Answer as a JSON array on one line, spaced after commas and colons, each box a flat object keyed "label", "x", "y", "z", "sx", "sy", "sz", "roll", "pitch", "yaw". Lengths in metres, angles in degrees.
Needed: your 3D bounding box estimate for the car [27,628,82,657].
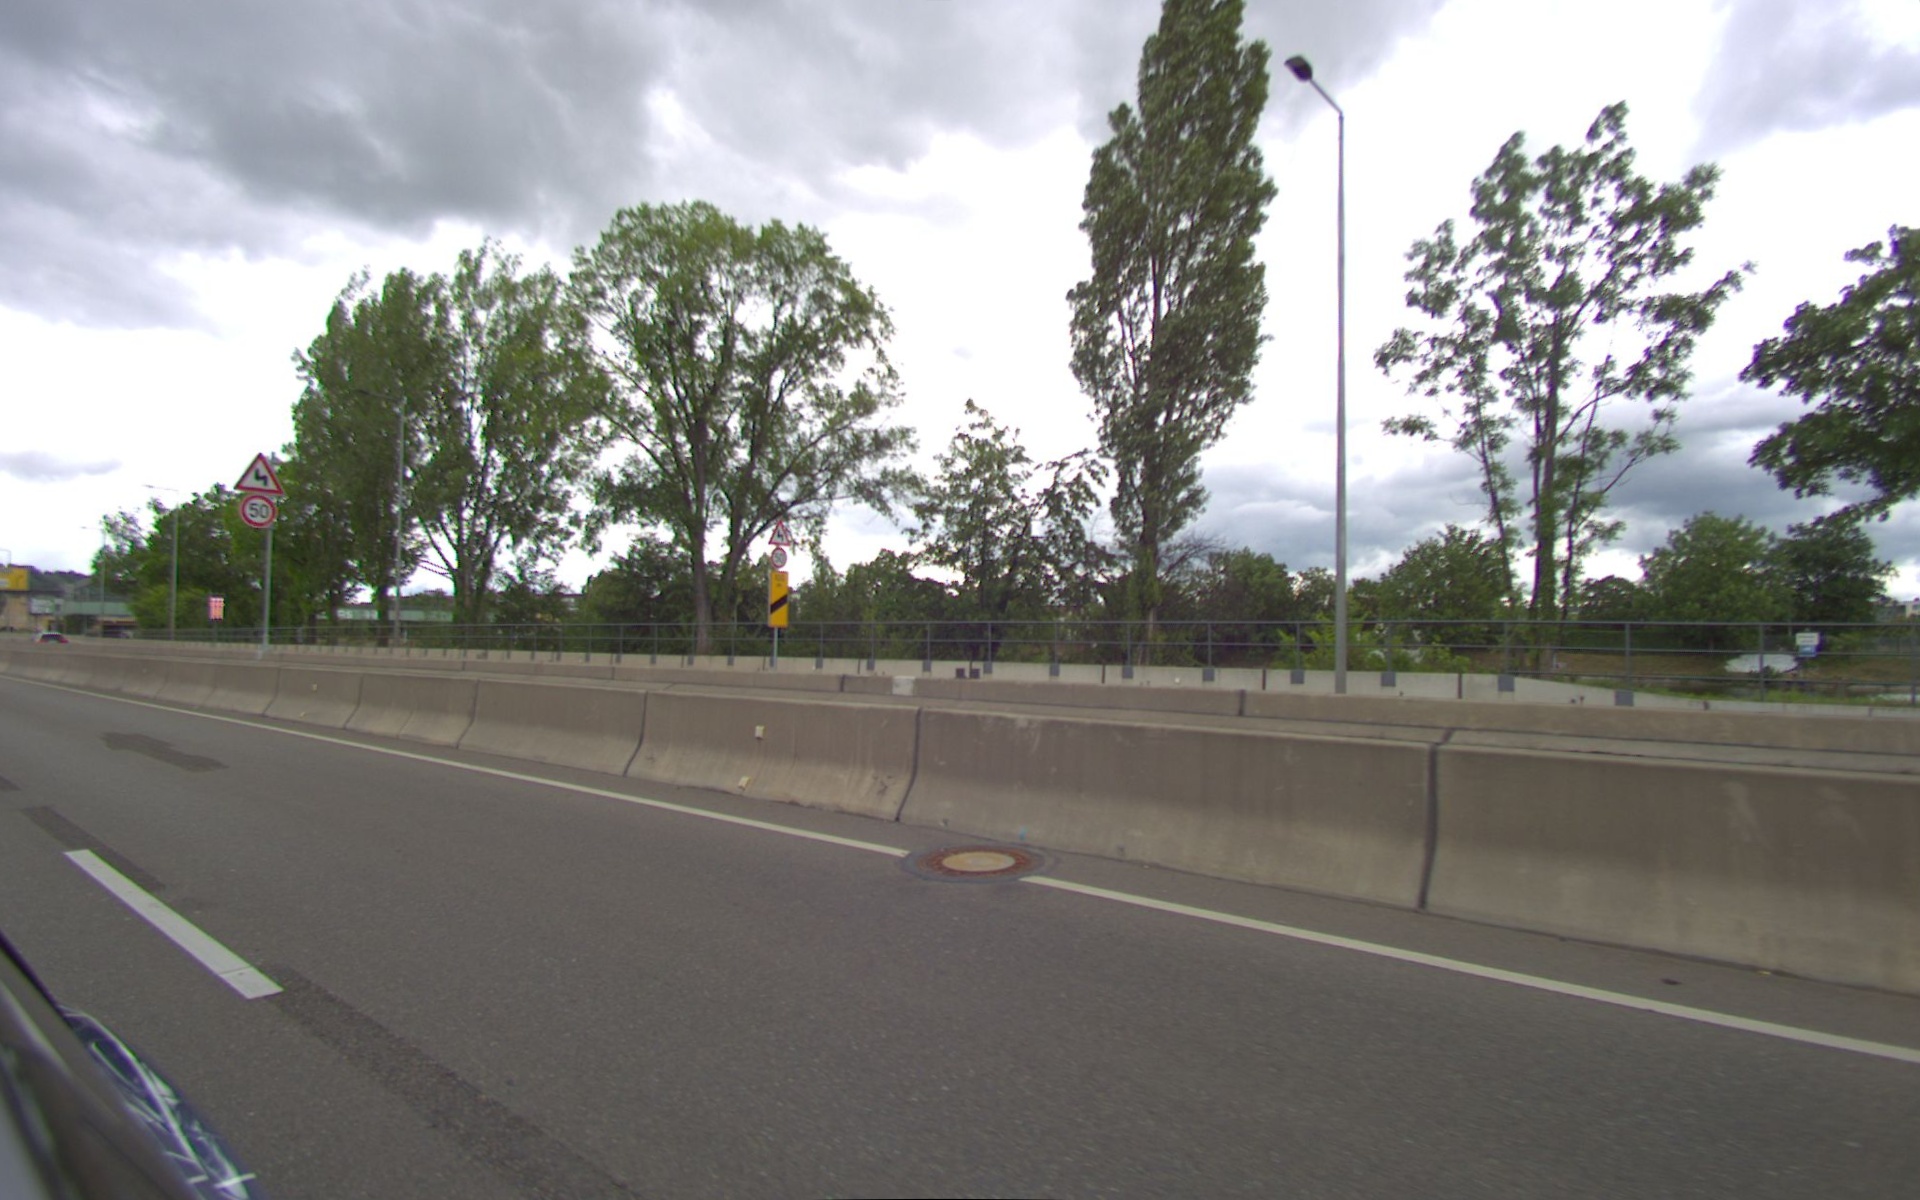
[{"label": "car", "x": -64.311, "y": 2.991, "z": 71.835, "sx": 4.999, "sy": 1.940, "sz": 2.305, "roll": -2, "pitch": -1, "yaw": 41}]
